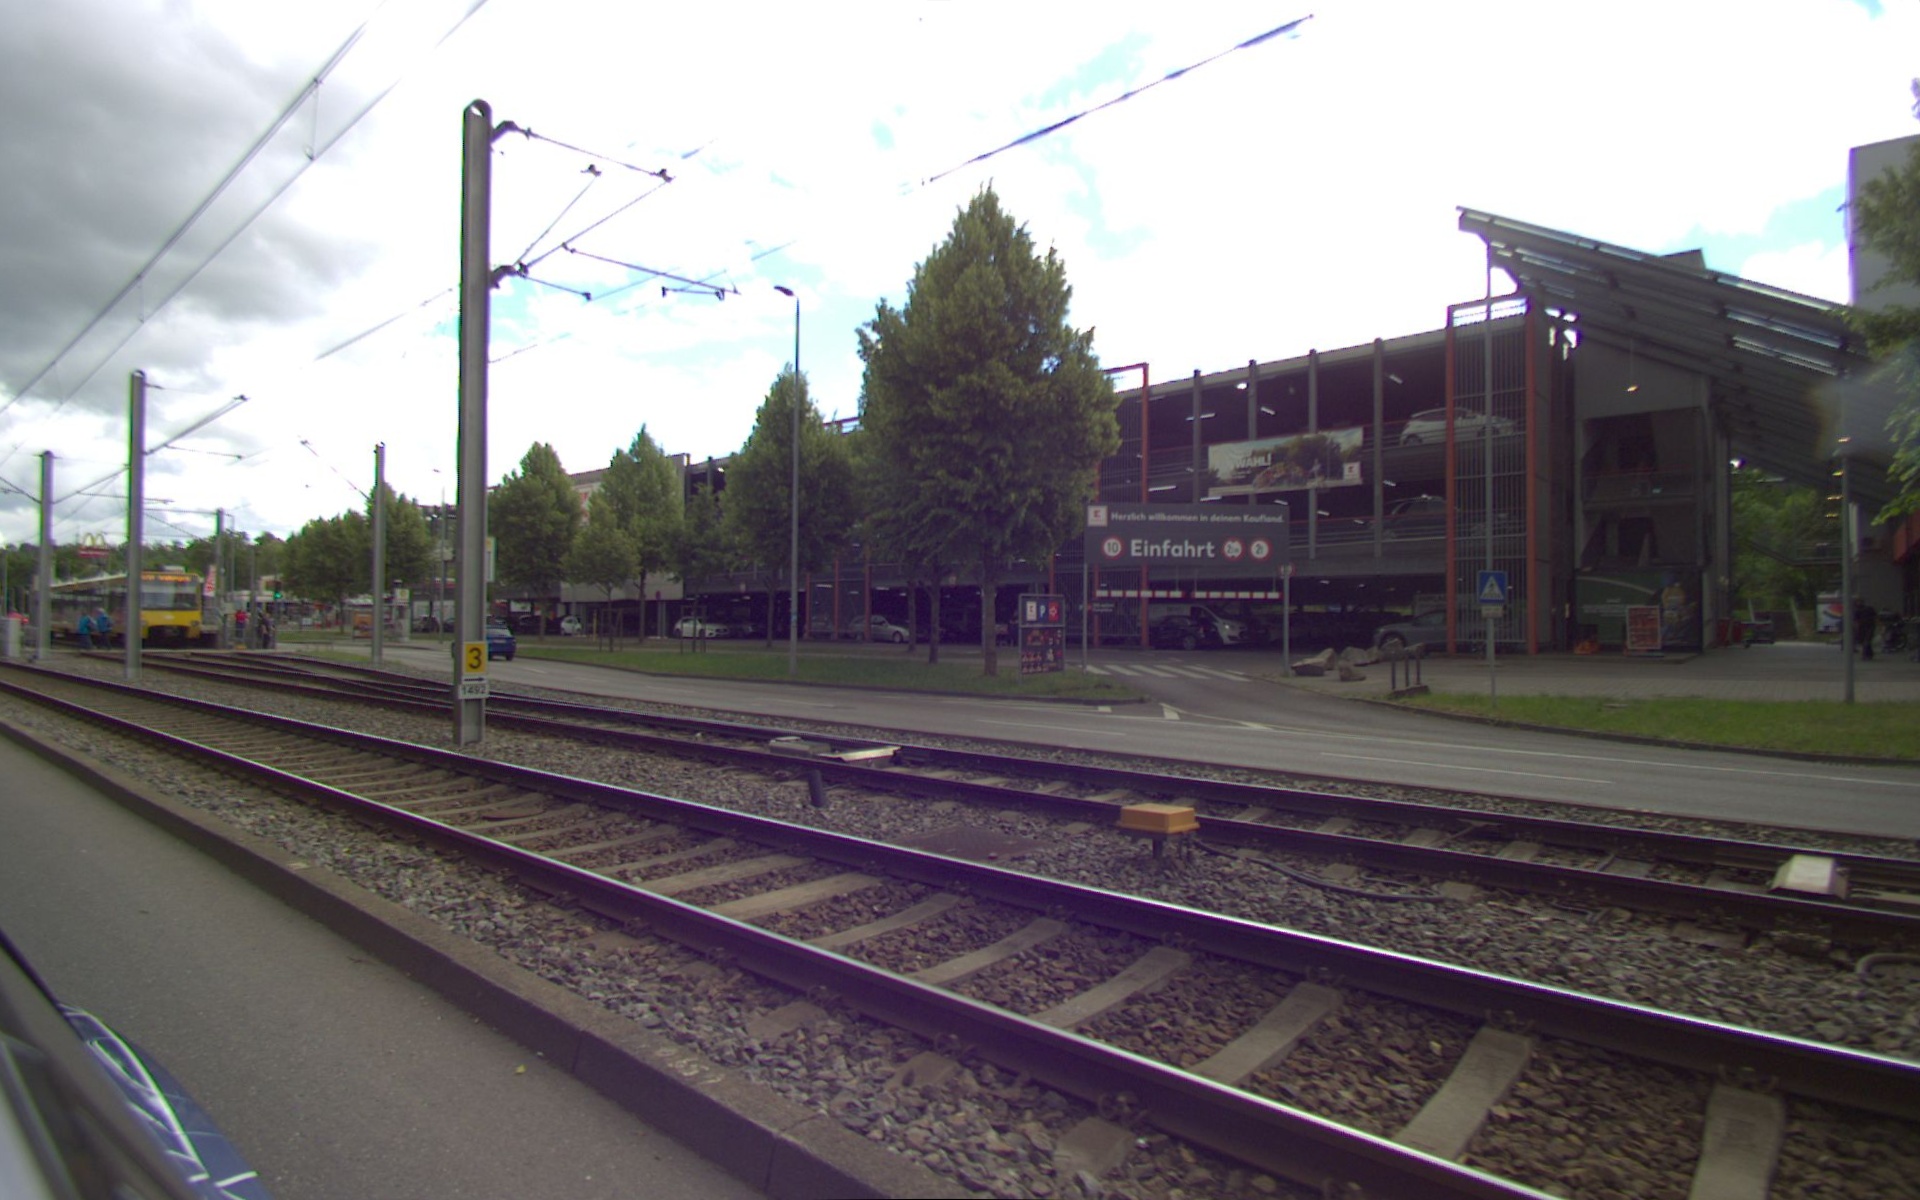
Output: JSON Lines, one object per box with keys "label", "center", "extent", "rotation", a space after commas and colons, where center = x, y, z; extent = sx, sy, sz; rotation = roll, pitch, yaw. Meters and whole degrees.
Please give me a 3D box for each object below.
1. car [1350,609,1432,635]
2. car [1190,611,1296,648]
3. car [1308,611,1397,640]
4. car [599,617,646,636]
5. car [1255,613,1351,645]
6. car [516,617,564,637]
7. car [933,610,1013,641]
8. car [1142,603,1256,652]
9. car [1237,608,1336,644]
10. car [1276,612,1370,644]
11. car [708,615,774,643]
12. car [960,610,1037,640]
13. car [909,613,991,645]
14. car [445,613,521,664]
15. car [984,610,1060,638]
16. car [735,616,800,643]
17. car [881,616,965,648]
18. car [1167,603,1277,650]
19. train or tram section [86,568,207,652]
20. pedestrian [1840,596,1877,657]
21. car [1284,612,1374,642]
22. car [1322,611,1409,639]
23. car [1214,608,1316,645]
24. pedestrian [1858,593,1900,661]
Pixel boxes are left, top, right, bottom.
{"label": "car", "center": [27.536, 1.421, 64.749], "extent": [4.403, 1.640, 1.973], "rotation": [-1, -2, 41]}
{"label": "car", "center": [13.284, 1.388, 47.628], "extent": [4.403, 1.662, 1.973], "rotation": [-1, -2, 41]}
{"label": "car", "center": [22.770, 1.485, 58.782], "extent": [4.403, 1.640, 1.973], "rotation": [-1, -2, 41]}
{"label": "car", "center": [-29.983, 2.302, 89.813], "extent": [4.403, 1.640, 1.973], "rotation": [-1, -2, 41]}
{"label": "car", "center": [18.063, 1.526, 53.386], "extent": [4.403, 1.640, 1.973], "rotation": [-1, -2, 41]}
{"label": "car", "center": [-34.837, 2.251, 83.967], "extent": [4.403, 1.640, 1.973], "rotation": [-1, -2, 41]}
{"label": "car", "center": [0.727, 1.487, 58.958], "extent": [4.403, 1.712, 1.973], "rotation": [-1, -2, 41]}
{"label": "car", "center": [10.306, 1.184, 43.851], "extent": [4.403, 2.029, 1.973], "rotation": [-1, -2, 41]}
{"label": "car", "center": [16.592, 1.336, 51.571], "extent": [4.403, 1.754, 1.973], "rotation": [-1, -2, 41]}
{"label": "car", "center": [19.710, 1.506, 55.066], "extent": [4.403, 1.640, 1.973], "rotation": [-1, -2, 41]}
{"label": "car", "center": [-14.277, 1.872, 65.795], "extent": [4.403, 1.712, 1.973], "rotation": [-1, -2, 41]}
{"label": "car", "center": [2.290, 1.485, 60.853], "extent": [4.403, 1.712, 1.973], "rotation": [-1, -2, 41]}
{"label": "car", "center": [-0.596, 1.603, 56.955], "extent": [4.403, 1.712, 1.973], "rotation": [-1, -2, 41]}
{"label": "car", "center": [-20.208, 1.581, 42.824], "extent": [1.968, 2.029, 4.007], "rotation": [1, -2, -40]}
{"label": "car", "center": [3.819, 1.477, 62.589], "extent": [4.403, 1.712, 1.973], "rotation": [-1, -2, 41]}
{"label": "car", "center": [-12.900, 1.952, 67.740], "extent": [4.403, 1.712, 1.973], "rotation": [-1, -2, 41]}
{"label": "car", "center": [-2.050, 1.727, 54.954], "extent": [4.403, 1.640, 1.973], "rotation": [-1, -2, 41]}
{"label": "car", "center": [11.804, 1.183, 45.793], "extent": [4.403, 2.029, 1.973], "rotation": [-1, -2, 41]}
{"label": "train or tram section", "center": [-41.416, 0.594, 51.258], "extent": [13.785, 3.804, 2.741], "rotation": [-1, -2, 43]}
{"label": "pedestrian", "center": [29.229, 0.858, 32.921], "extent": [0.648, 1.941, 0.581], "rotation": [-1, -1, 11]}
{"label": "car", "center": [20.823, 1.504, 57.215], "extent": [4.403, 1.640, 1.973], "rotation": [-1, -2, 41]}
{"label": "car", "center": [24.205, 1.472, 60.476], "extent": [4.403, 1.640, 1.973], "rotation": [-1, -2, 41]}
{"label": "car", "center": [14.952, 1.290, 49.722], "extent": [4.403, 1.731, 1.973], "rotation": [-1, -2, 41]}
{"label": "pedestrian", "center": [26.544, 0.771, 29.242], "extent": [0.648, 1.941, 0.581], "rotation": [-1, -1, 11]}
